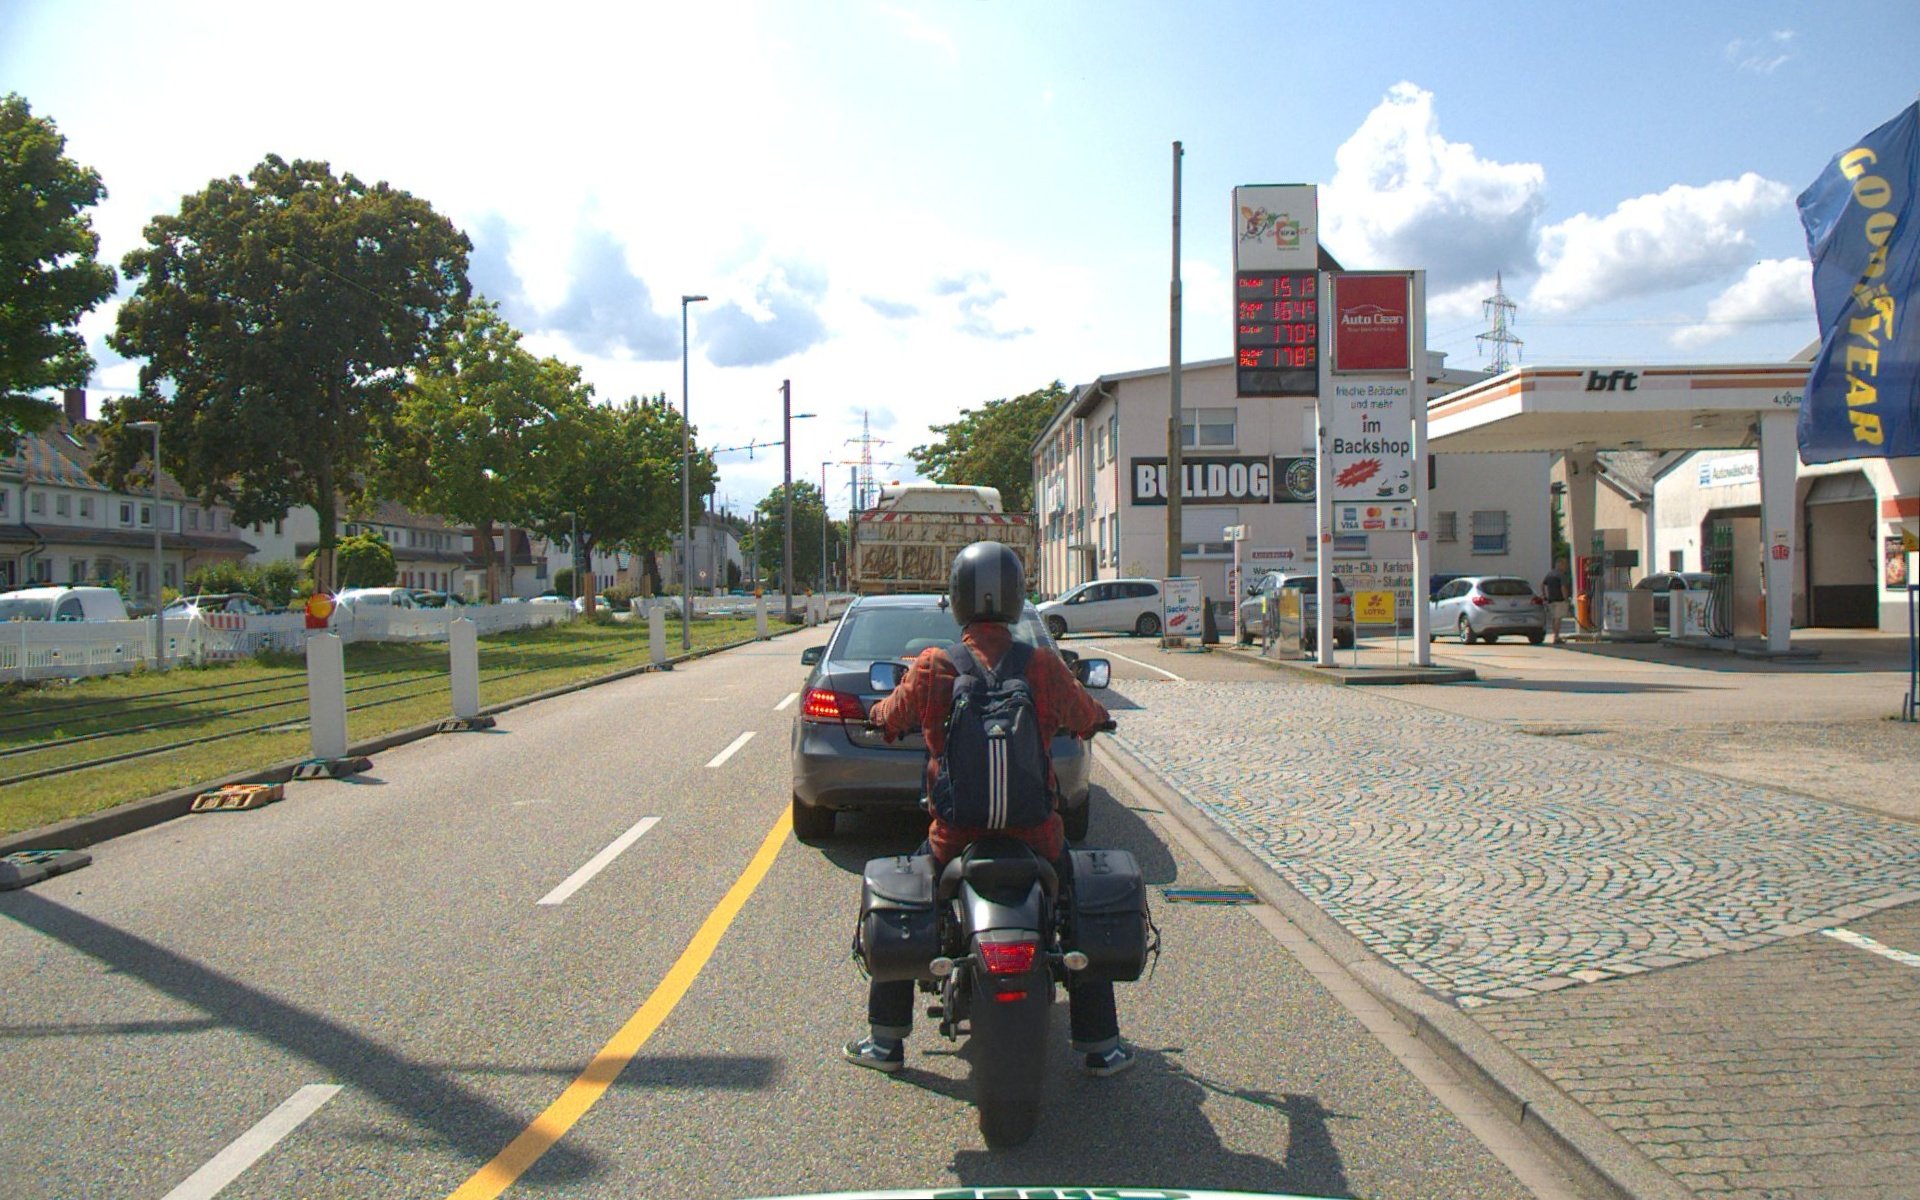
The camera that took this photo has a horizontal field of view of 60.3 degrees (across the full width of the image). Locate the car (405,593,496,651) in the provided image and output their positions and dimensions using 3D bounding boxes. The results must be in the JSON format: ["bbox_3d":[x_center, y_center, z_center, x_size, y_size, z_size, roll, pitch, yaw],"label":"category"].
[{"bbox_3d":[-16.970,0.698,55.264,1.740,1.837,4.127,-1,0,-1],"label":"car"}]

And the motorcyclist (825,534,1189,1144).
[{"bbox_3d":[0.121,0.640,5.020,0.959,1.630,1.087,-1,0,-1],"label":"motorcyclist"}]

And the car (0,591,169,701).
[{"bbox_3d":[-16.465,0.782,30.391,1.740,1.853,4.363,-1,0,-1],"label":"car"}]

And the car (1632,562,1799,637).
[{"bbox_3d":[16.470,-0.027,36.279,1.770,1.529,3.832,-1,0,-3],"label":"car"}]

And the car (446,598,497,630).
[{"bbox_3d":[-28.295,0.777,95.838,1.740,1.753,4.127,-1,0,-1],"label":"car"}]

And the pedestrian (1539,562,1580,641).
[{"bbox_3d":[12.954,0.030,35.714,0.696,1.685,0.546,-1,0,35],"label":"pedestrian"}]

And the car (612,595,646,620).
[{"bbox_3d":[-24.959,0.547,124.855,1.740,1.753,4.127,-1,0,-1],"label":"car"}]

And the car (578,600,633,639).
[{"bbox_3d":[-17.052,0.908,79.688,1.740,1.753,4.127,-1,0,-1],"label":"car"}]

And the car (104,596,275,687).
[{"bbox_3d":[-16.672,0.839,36.029,1.740,1.805,4.227,-1,0,-1],"label":"car"}]

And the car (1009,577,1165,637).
[{"bbox_3d":[3.602,0.183,47.125,4.152,1.570,1.669,-1,0,-9],"label":"car"}]

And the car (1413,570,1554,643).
[{"bbox_3d":[11.723,0.119,37.268,1.770,1.529,3.831,-1,0,-3],"label":"car"}]

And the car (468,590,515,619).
[{"bbox_3d":[-29.421,0.273,103.955,1.740,1.753,4.127,-1,0,-1],"label":"car"}]

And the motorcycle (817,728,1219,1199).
[{"bbox_3d":[0.123,0.994,5.326,0.959,0.913,2.653,-1,0,-1],"label":"motorcycle"}]

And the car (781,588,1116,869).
[{"bbox_3d":[-0.090,0.683,10.933,1.786,1.478,3.999,1,0,-1],"label":"car"}]

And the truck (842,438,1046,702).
[{"bbox_3d":[-0.263,-0.424,25.367,2.585,3.354,8.055,-1,0,-1],"label":"truck"}]

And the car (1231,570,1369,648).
[{"bbox_3d":[7.458,0.175,36.633,1.636,1.589,4.236,-1,0,-8],"label":"car"}]

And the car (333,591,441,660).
[{"bbox_3d":[-16.938,0.713,49.085,1.740,1.900,4.127,-1,0,-1],"label":"car"}]
